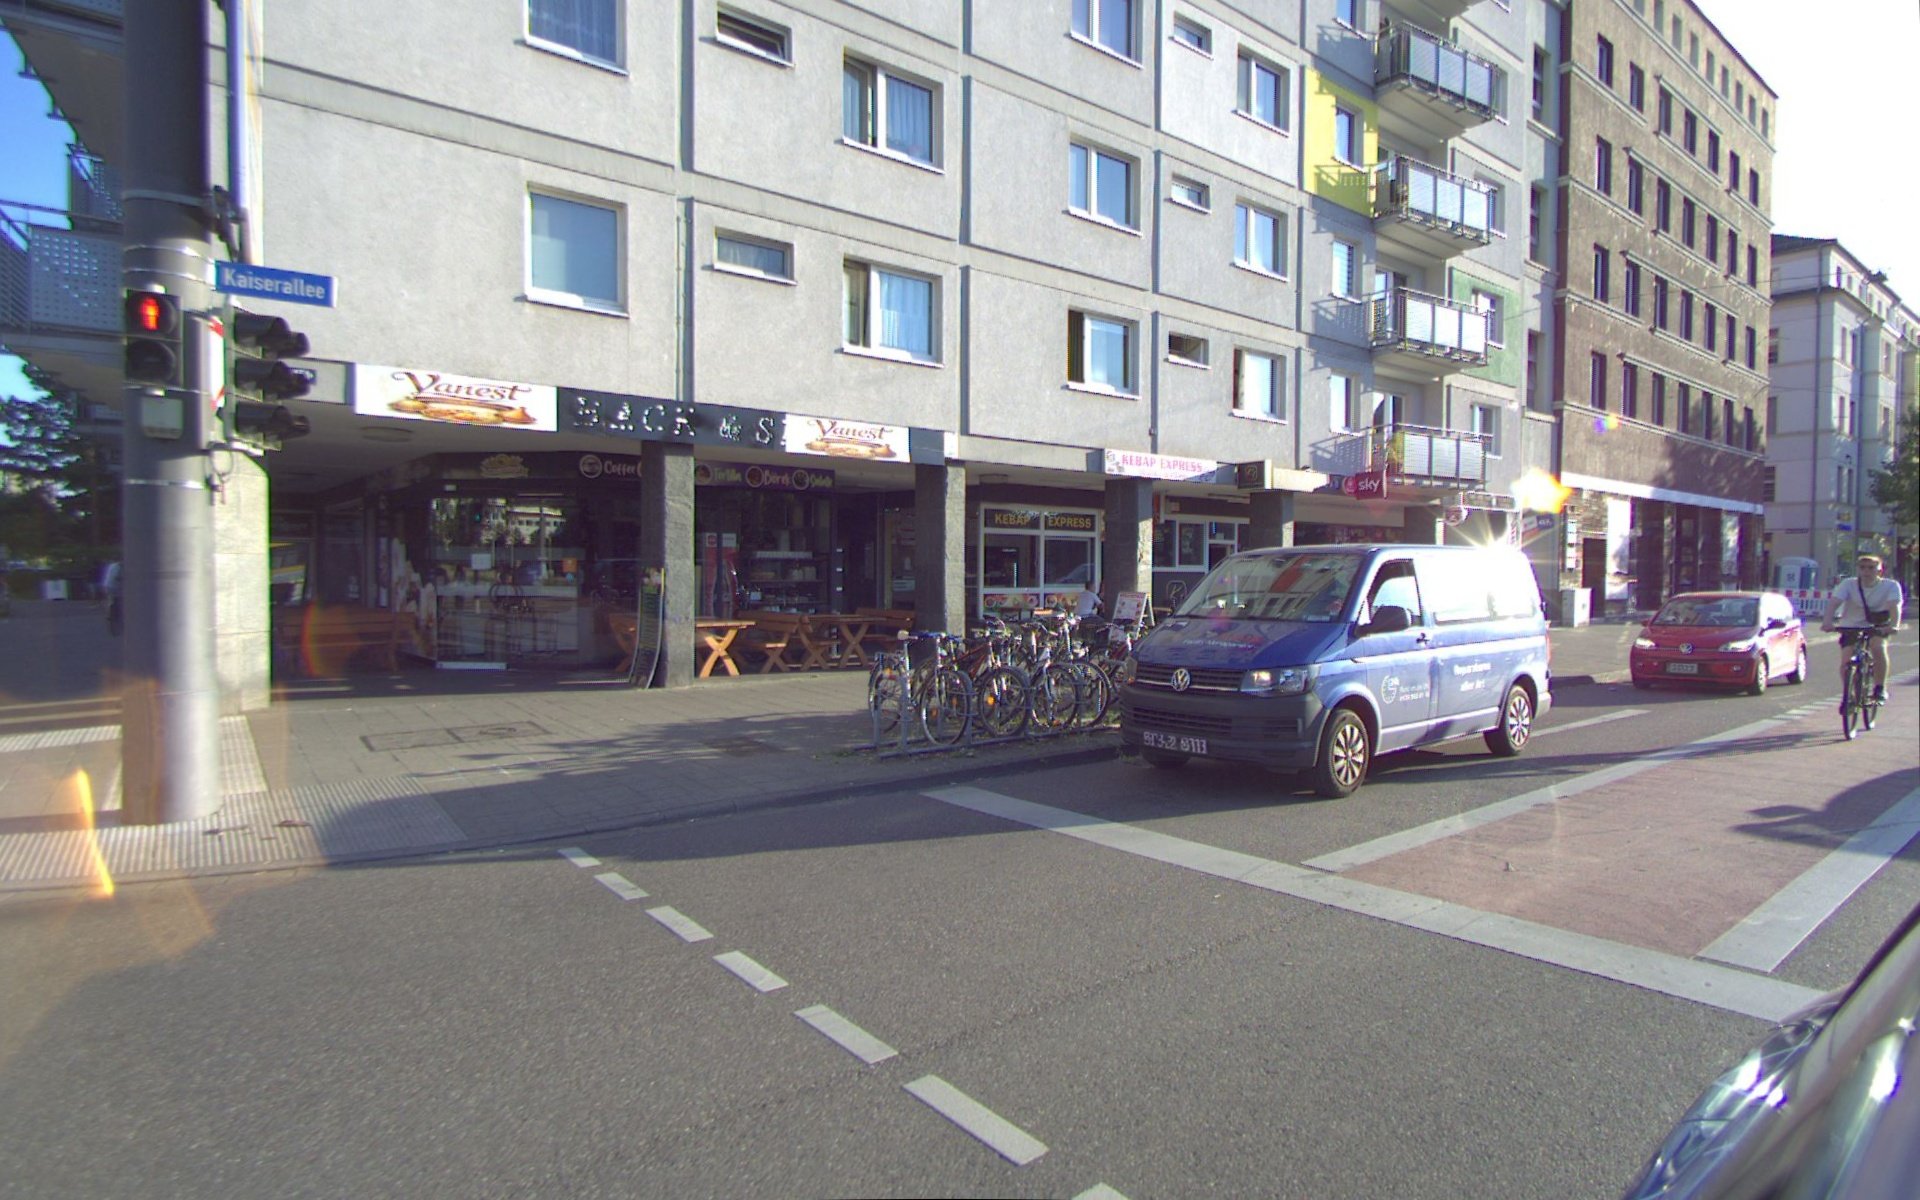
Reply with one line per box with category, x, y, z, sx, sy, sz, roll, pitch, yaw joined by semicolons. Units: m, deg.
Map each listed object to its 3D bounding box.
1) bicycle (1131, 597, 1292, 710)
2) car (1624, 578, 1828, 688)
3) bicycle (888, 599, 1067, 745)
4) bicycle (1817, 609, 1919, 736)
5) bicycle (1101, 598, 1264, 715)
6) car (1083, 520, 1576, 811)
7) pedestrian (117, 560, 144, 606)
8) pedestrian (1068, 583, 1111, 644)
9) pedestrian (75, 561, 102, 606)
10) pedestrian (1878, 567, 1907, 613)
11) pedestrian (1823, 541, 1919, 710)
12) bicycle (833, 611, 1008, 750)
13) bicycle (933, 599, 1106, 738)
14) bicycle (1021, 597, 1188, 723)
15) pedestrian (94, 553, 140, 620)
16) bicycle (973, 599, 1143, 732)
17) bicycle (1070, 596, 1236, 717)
bicycle;3.002;0.601;12.262;0.558;1.139;1.872;-1;4;-41
car;11.933;0.437;15.714;3.475;1.499;1.687;-1;0;-38
bicycle;0.122;0.629;9.756;0.596;1.139;1.872;-1;4;-41
bicycle;9.470;0.705;10.512;1.816;1.173;0.530;-1;1;-39
bicycle;2.573;0.617;11.893;0.558;1.139;1.872;-1;4;-41
car;3.471;0.374;9.046;4.744;1.957;1.942;-1;2;-38
pedestrian;-29.451;-0.619;35.926;0.698;1.596;0.727;-1;2;-38
pedestrian;2.461;0.243;19.212;0.642;1.113;0.539;1;1;31
pedestrian;-31.265;-0.607;36.299;0.699;1.596;0.727;-1;2;-40
pedestrian;32.843;-0.365;35.649;0.868;1.616;0.603;-1;1;-38
pedestrian;9.441;0.242;10.455;0.828;1.669;0.640;-1;0;-38
bicycle;-0.410;0.681;9.335;0.596;1.074;1.871;-1;2;-40
bicycle;0.553;0.633;10.166;0.558;1.139;1.872;-1;4;-41
bicycle;1.532;0.606;11.077;0.558;1.139;1.872;-1;4;-41
pedestrian;-23.191;-0.386;27.836;0.719;1.797;0.706;1;1;22
bicycle;0.973;0.624;10.573;0.558;1.139;1.872;-1;4;-41
bicycle;2.149;0.595;11.509;0.558;1.139;1.872;-1;4;-41
